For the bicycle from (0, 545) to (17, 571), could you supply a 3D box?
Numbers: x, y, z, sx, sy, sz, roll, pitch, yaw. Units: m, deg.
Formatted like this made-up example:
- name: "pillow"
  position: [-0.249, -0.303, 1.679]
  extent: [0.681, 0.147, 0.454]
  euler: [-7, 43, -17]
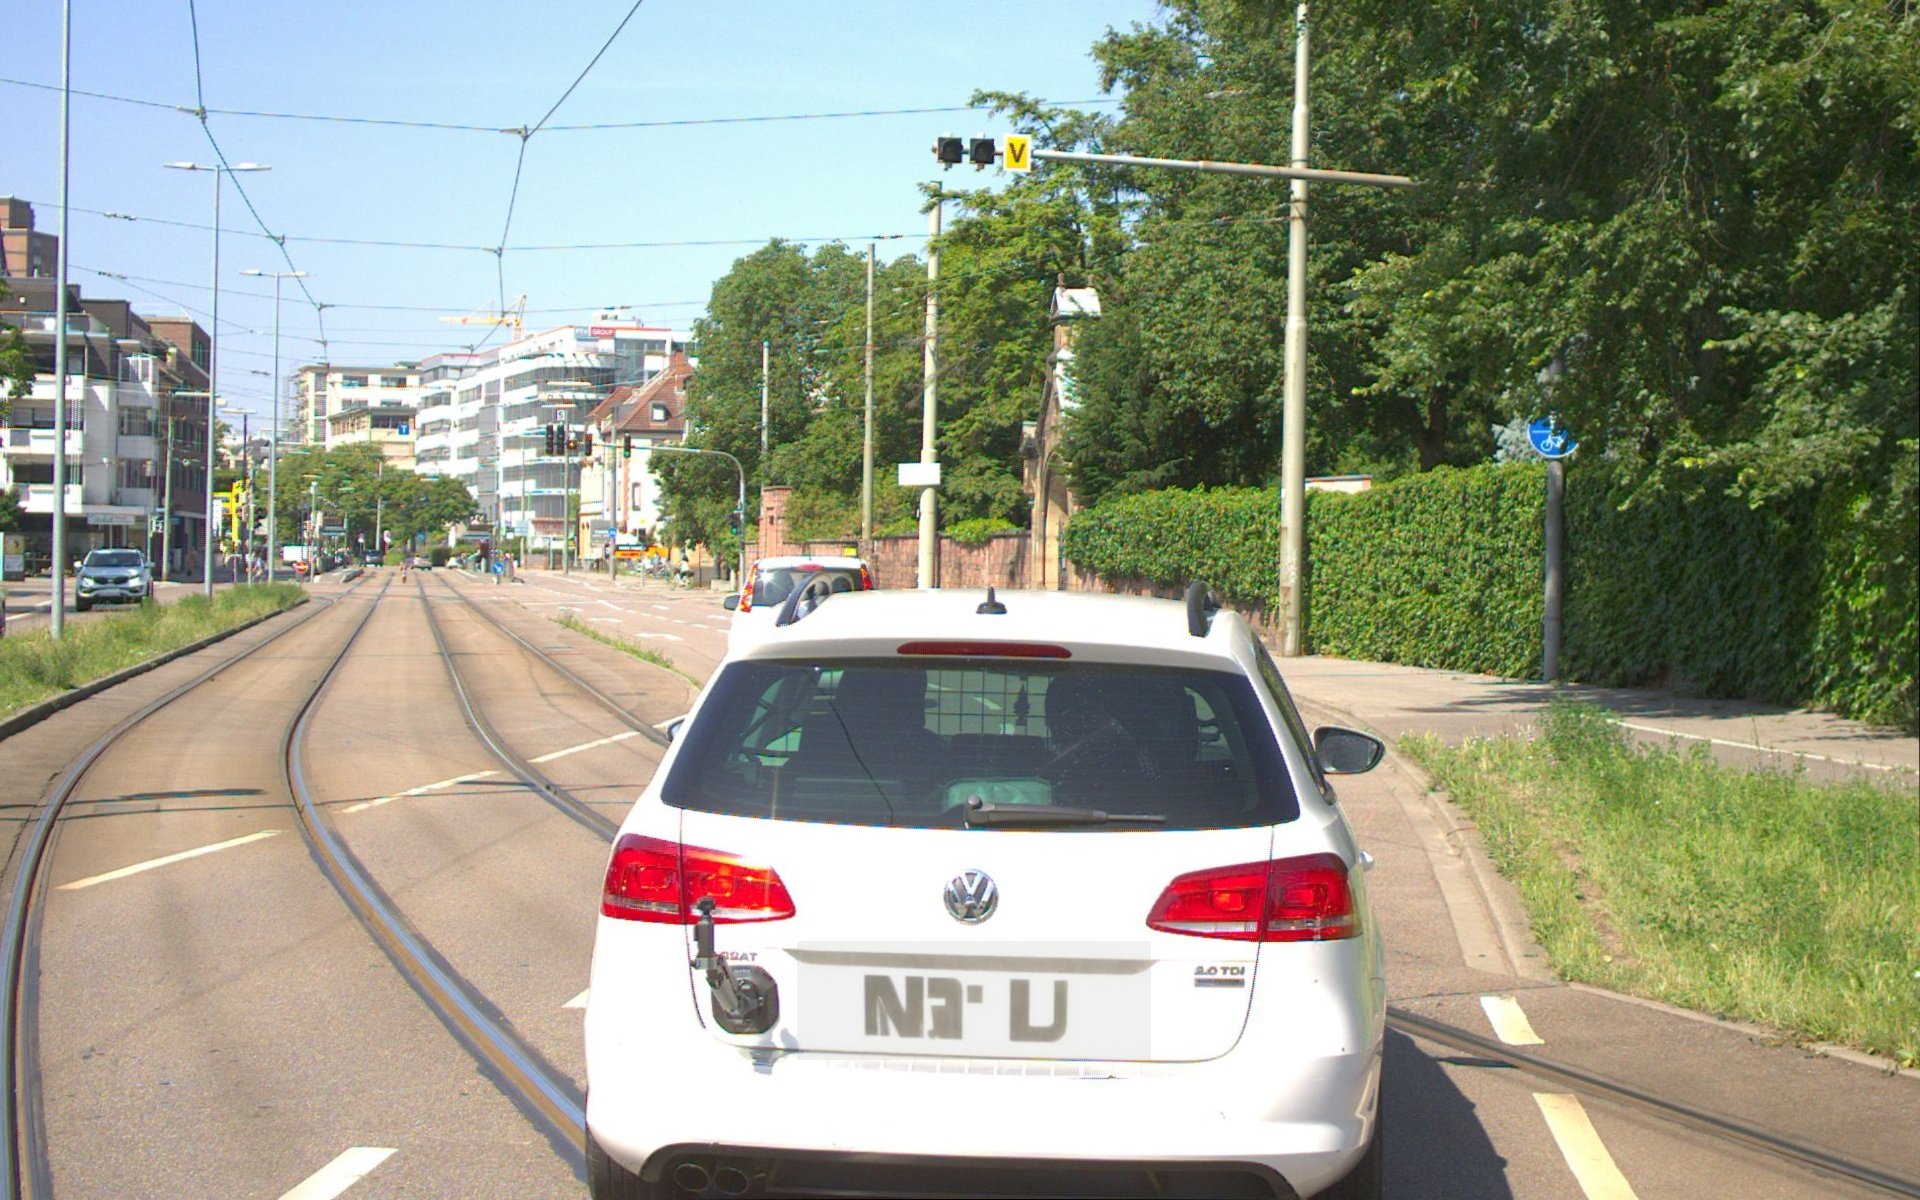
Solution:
- name: "bicycle"
  position: [-34.112, -1.479, 120.512]
  extent: [0.553, 0.918, 2.173]
  euler: [1, 2, 35]

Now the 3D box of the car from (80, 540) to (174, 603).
- name: "car"
  position: [-21.918, -0.781, 90.621]
  extent: [2.042, 1.591, 4.661]
  euler: [1, 1, -9]

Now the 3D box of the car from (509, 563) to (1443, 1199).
- name: "car"
  position: [0.055, 0.674, 8.530]
  extent: [1.779, 1.485, 3.847]
  euler: [1, 1, 1]

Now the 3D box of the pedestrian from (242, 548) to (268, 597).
- name: "pedestrian"
  position: [-25.064, -0.995, 122.280]
  extent: [0.826, 1.733, 0.932]
  euler: [0, 1, -16]

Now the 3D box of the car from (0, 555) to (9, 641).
- name: "car"
  position: [-16.622, -0.023, 55.741]
  extent: [1.791, 1.418, 4.337]
  euler: [1, 1, -9]

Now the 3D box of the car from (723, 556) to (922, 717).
- name: "car"
  position: [-1.403, 0.338, 36.470]
  extent: [1.730, 1.591, 4.011]
  euler: [1, 1, 3]
